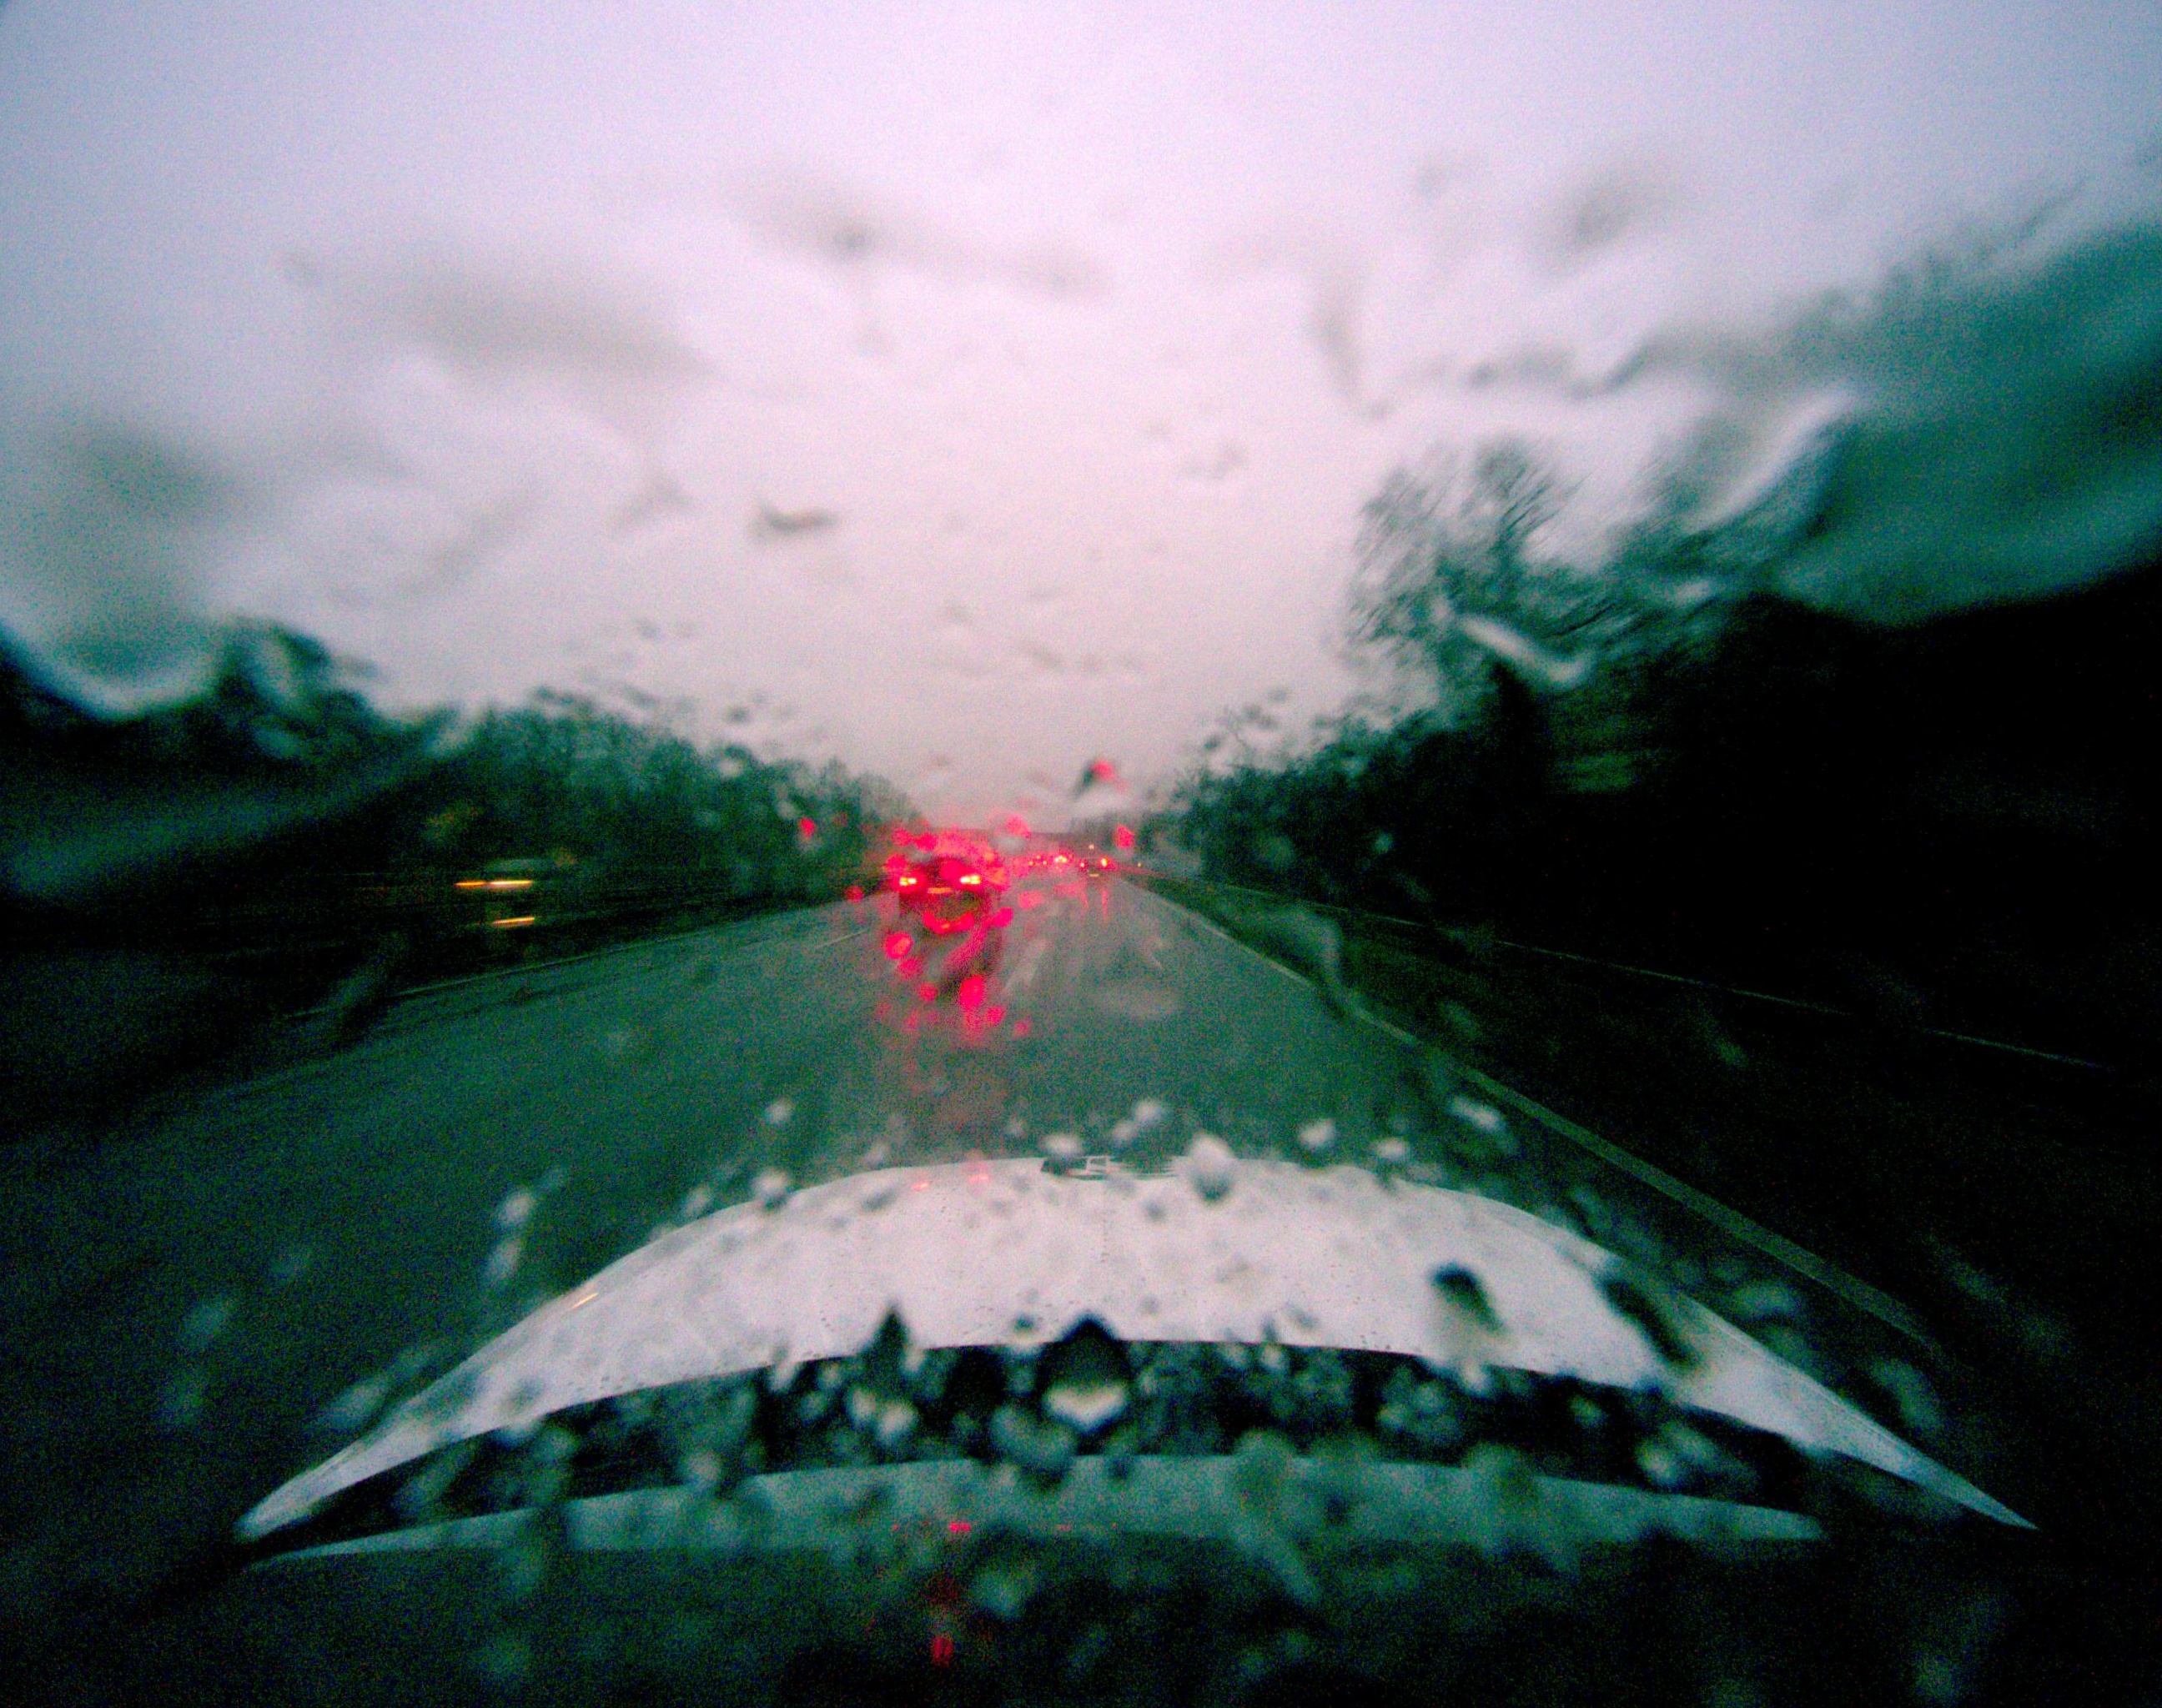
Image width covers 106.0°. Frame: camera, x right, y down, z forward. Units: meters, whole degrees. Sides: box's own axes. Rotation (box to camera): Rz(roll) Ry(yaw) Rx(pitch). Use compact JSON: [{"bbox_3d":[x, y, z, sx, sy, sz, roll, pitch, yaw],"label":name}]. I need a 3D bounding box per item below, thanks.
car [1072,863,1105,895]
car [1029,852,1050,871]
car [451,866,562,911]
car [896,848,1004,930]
[{"bbox_3d":[0.374,1.361,45.134,1.727,1.428,3.764,2,3,-1],"label":"car"},{"bbox_3d":[-3.819,0.672,74.581,1.874,1.617,3.870,1,1,-4],"label":"car"},{"bbox_3d":[-20.973,1.226,29.928,1.743,1.487,3.987,0,0,-9],"label":"car"},{"bbox_3d":[-2.897,0.728,18.839,1.989,1.665,3.996,-1,0,-3],"label":"car"}]
